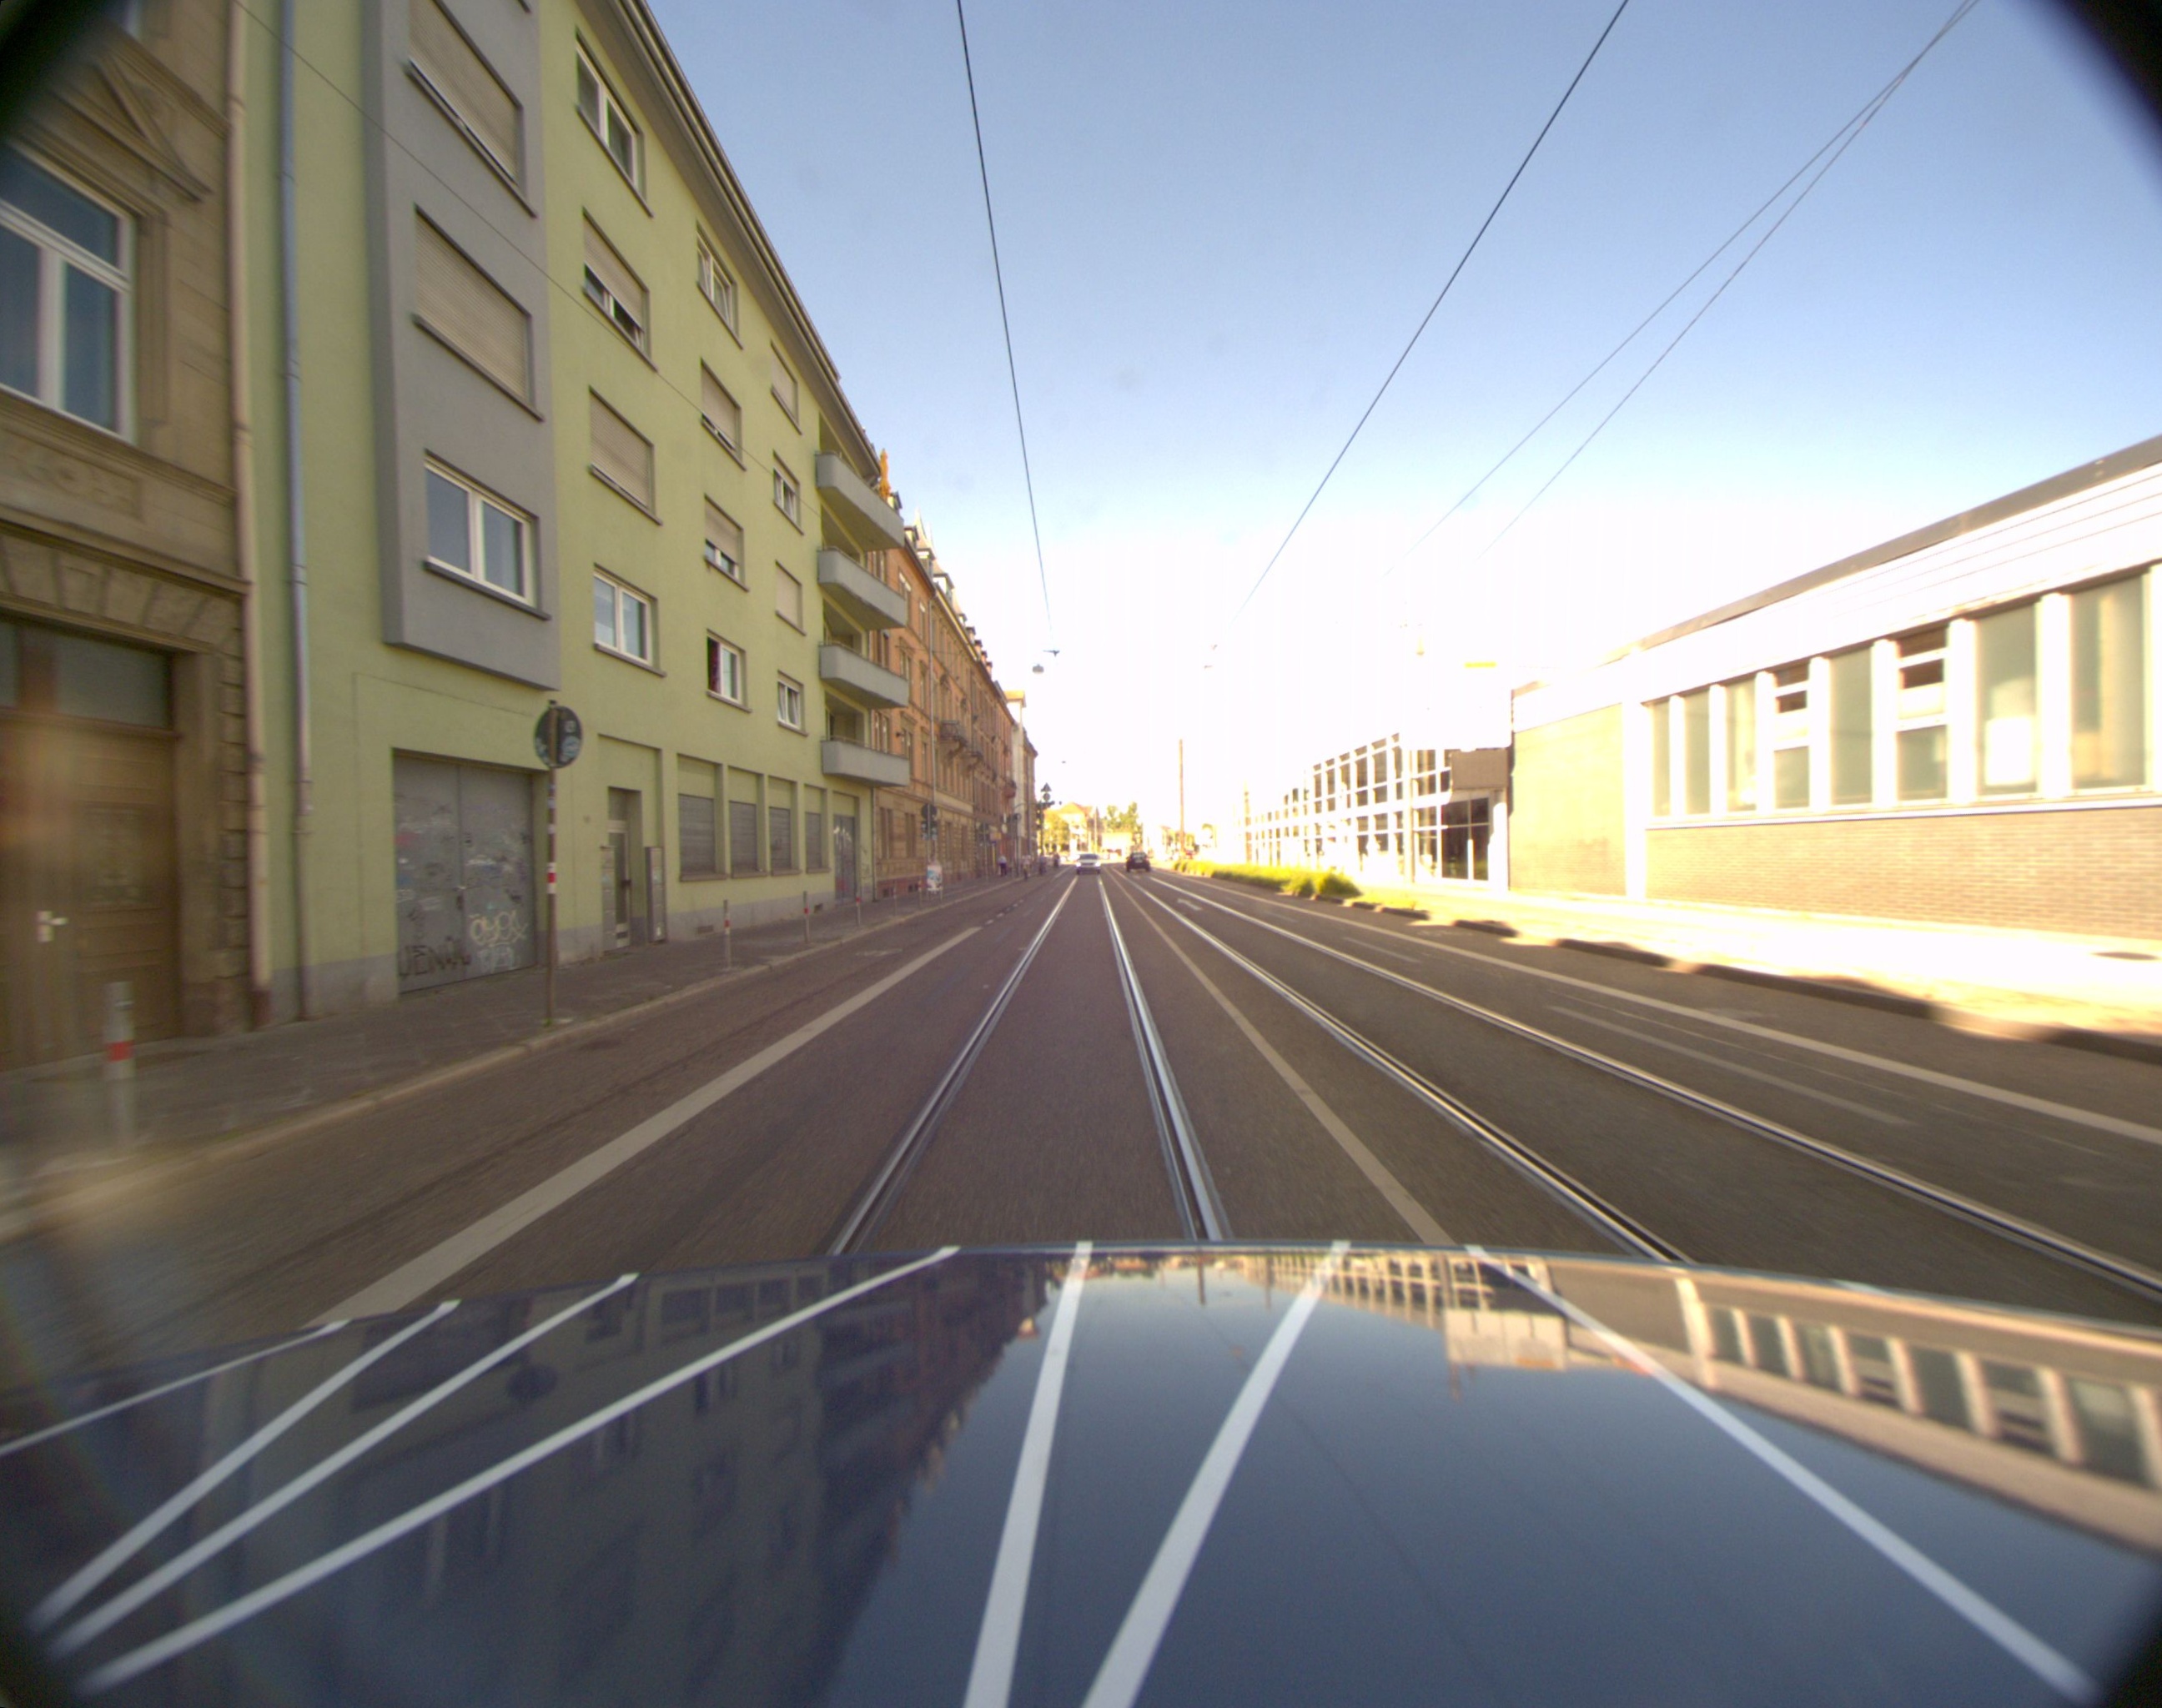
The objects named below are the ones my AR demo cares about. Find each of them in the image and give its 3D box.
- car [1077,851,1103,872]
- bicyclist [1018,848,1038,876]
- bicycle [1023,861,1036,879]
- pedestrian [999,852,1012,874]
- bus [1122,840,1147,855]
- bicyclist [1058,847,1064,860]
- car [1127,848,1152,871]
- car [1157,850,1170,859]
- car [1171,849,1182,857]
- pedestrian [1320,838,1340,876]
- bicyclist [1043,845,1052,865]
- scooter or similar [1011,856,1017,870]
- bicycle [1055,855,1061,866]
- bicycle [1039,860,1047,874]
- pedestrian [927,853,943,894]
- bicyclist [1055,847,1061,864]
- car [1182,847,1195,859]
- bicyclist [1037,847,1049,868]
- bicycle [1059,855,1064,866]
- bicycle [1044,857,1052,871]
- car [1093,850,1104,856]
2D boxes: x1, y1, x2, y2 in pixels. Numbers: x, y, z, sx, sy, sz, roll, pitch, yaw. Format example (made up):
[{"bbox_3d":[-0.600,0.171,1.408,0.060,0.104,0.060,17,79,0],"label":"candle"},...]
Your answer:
[{"bbox_3d":[0.684,0.581,60.909,1.869,1.635,4.396,-1,0,-1],"label":"car"},{"bbox_3d":[-3.288,0.484,46.997,0.681,1.674,1.122,-2,1,28],"label":"bicyclist"},{"bbox_3d":[-3.196,0.990,47.160,0.533,1.111,1.934,-3,-1,1],"label":"bicycle"},{"bbox_3d":[-5.393,0.645,54.598,0.800,1.596,0.652,-1,1,3],"label":"pedestrian"},{"bbox_3d":[13.019,-1.636,183.705,2.844,3.569,11.285,-2,0,20],"label":"bus"},{"bbox_3d":[-2.242,-0.013,85.434,0.675,1.413,1.036,-3,1,0],"label":"bicyclist"},{"bbox_3d":[4.643,0.395,60.868,1.763,1.687,4.143,-3,1,2],"label":"car"},{"bbox_3d":[14.918,0.011,137.697,1.807,1.424,4.540,-3,1,2],"label":"car"},{"bbox_3d":[17.897,-0.218,142.290,1.653,1.470,3.971,0,1,2],"label":"car"},{"bbox_3d":[11.660,0.141,35.609,0.528,1.755,1.051,-3,1,1],"label":"pedestrian"},{"bbox_3d":[-2.846,0.100,64.177,0.625,1.604,0.981,-3,1,2],"label":"bicyclist"},{"bbox_3d":[-6.101,0.801,69.411,0.407,1.204,1.480,0,1,2],"label":"scooter or similar"},{"bbox_3d":[-2.310,0.639,76.429,0.533,1.111,1.933,-3,1,1],"label":"bicycle"},{"bbox_3d":[-2.946,1.030,59.452,0.387,1.063,1.934,-1,0,3],"label":"bicycle"},{"bbox_3d":[-6.118,0.811,31.834,0.554,1.691,0.474,1,1,1],"label":"pedestrian"},{"bbox_3d":[-2.330,0.136,76.667,0.551,1.604,0.953,-3,1,0],"label":"bicyclist"},{"bbox_3d":[16.423,-0.188,116.121,1.803,1.709,4.418,0,1,7],"label":"car"},{"bbox_3d":[-2.955,0.268,59.436,0.784,1.584,0.886,-1,1,3],"label":"bicyclist"},{"bbox_3d":[-2.181,0.757,85.358,0.533,1.152,1.865,-2,1,0],"label":"bicycle"},{"bbox_3d":[-2.786,0.836,64.030,0.533,1.111,1.933,-1,1,2],"label":"bicycle"},{"bbox_3d":[4.749,-0.223,208.997,1.914,1.449,4.594,-2,1,-13],"label":"car"}]
